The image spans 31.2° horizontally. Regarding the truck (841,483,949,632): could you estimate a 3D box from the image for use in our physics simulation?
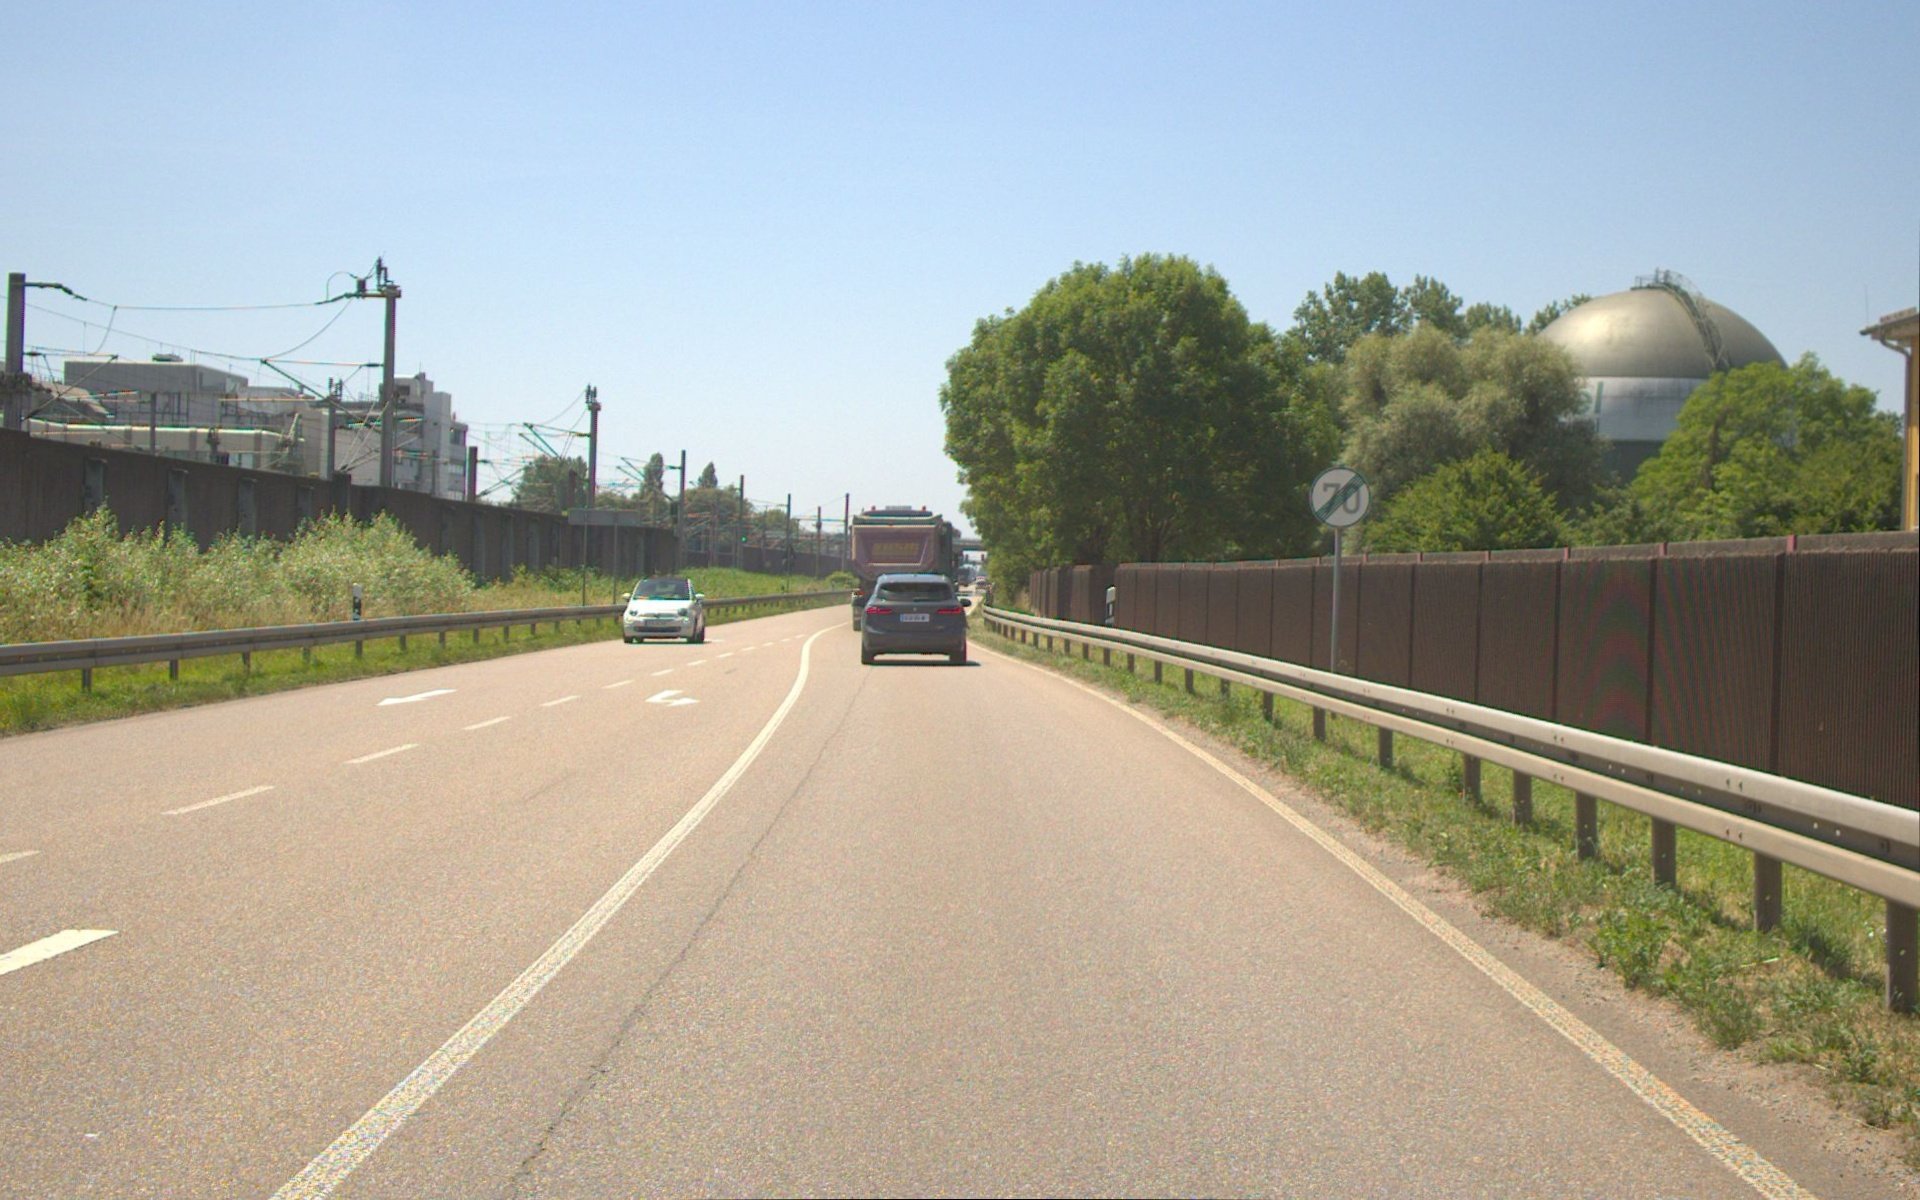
[{"bbox_3d":[-1.984,-1.164,102.739,2.995,4.166,11.808,1,0,-2],"label":"truck"}]

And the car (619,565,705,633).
[{"bbox_3d":[-6.750,-0.047,78.100,1.672,1.497,3.722,1,0,-1],"label":"car"}]

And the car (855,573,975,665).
[{"bbox_3d":[-0.761,0.357,59.989,1.993,1.498,4.000,1,-1,0],"label":"car"}]
